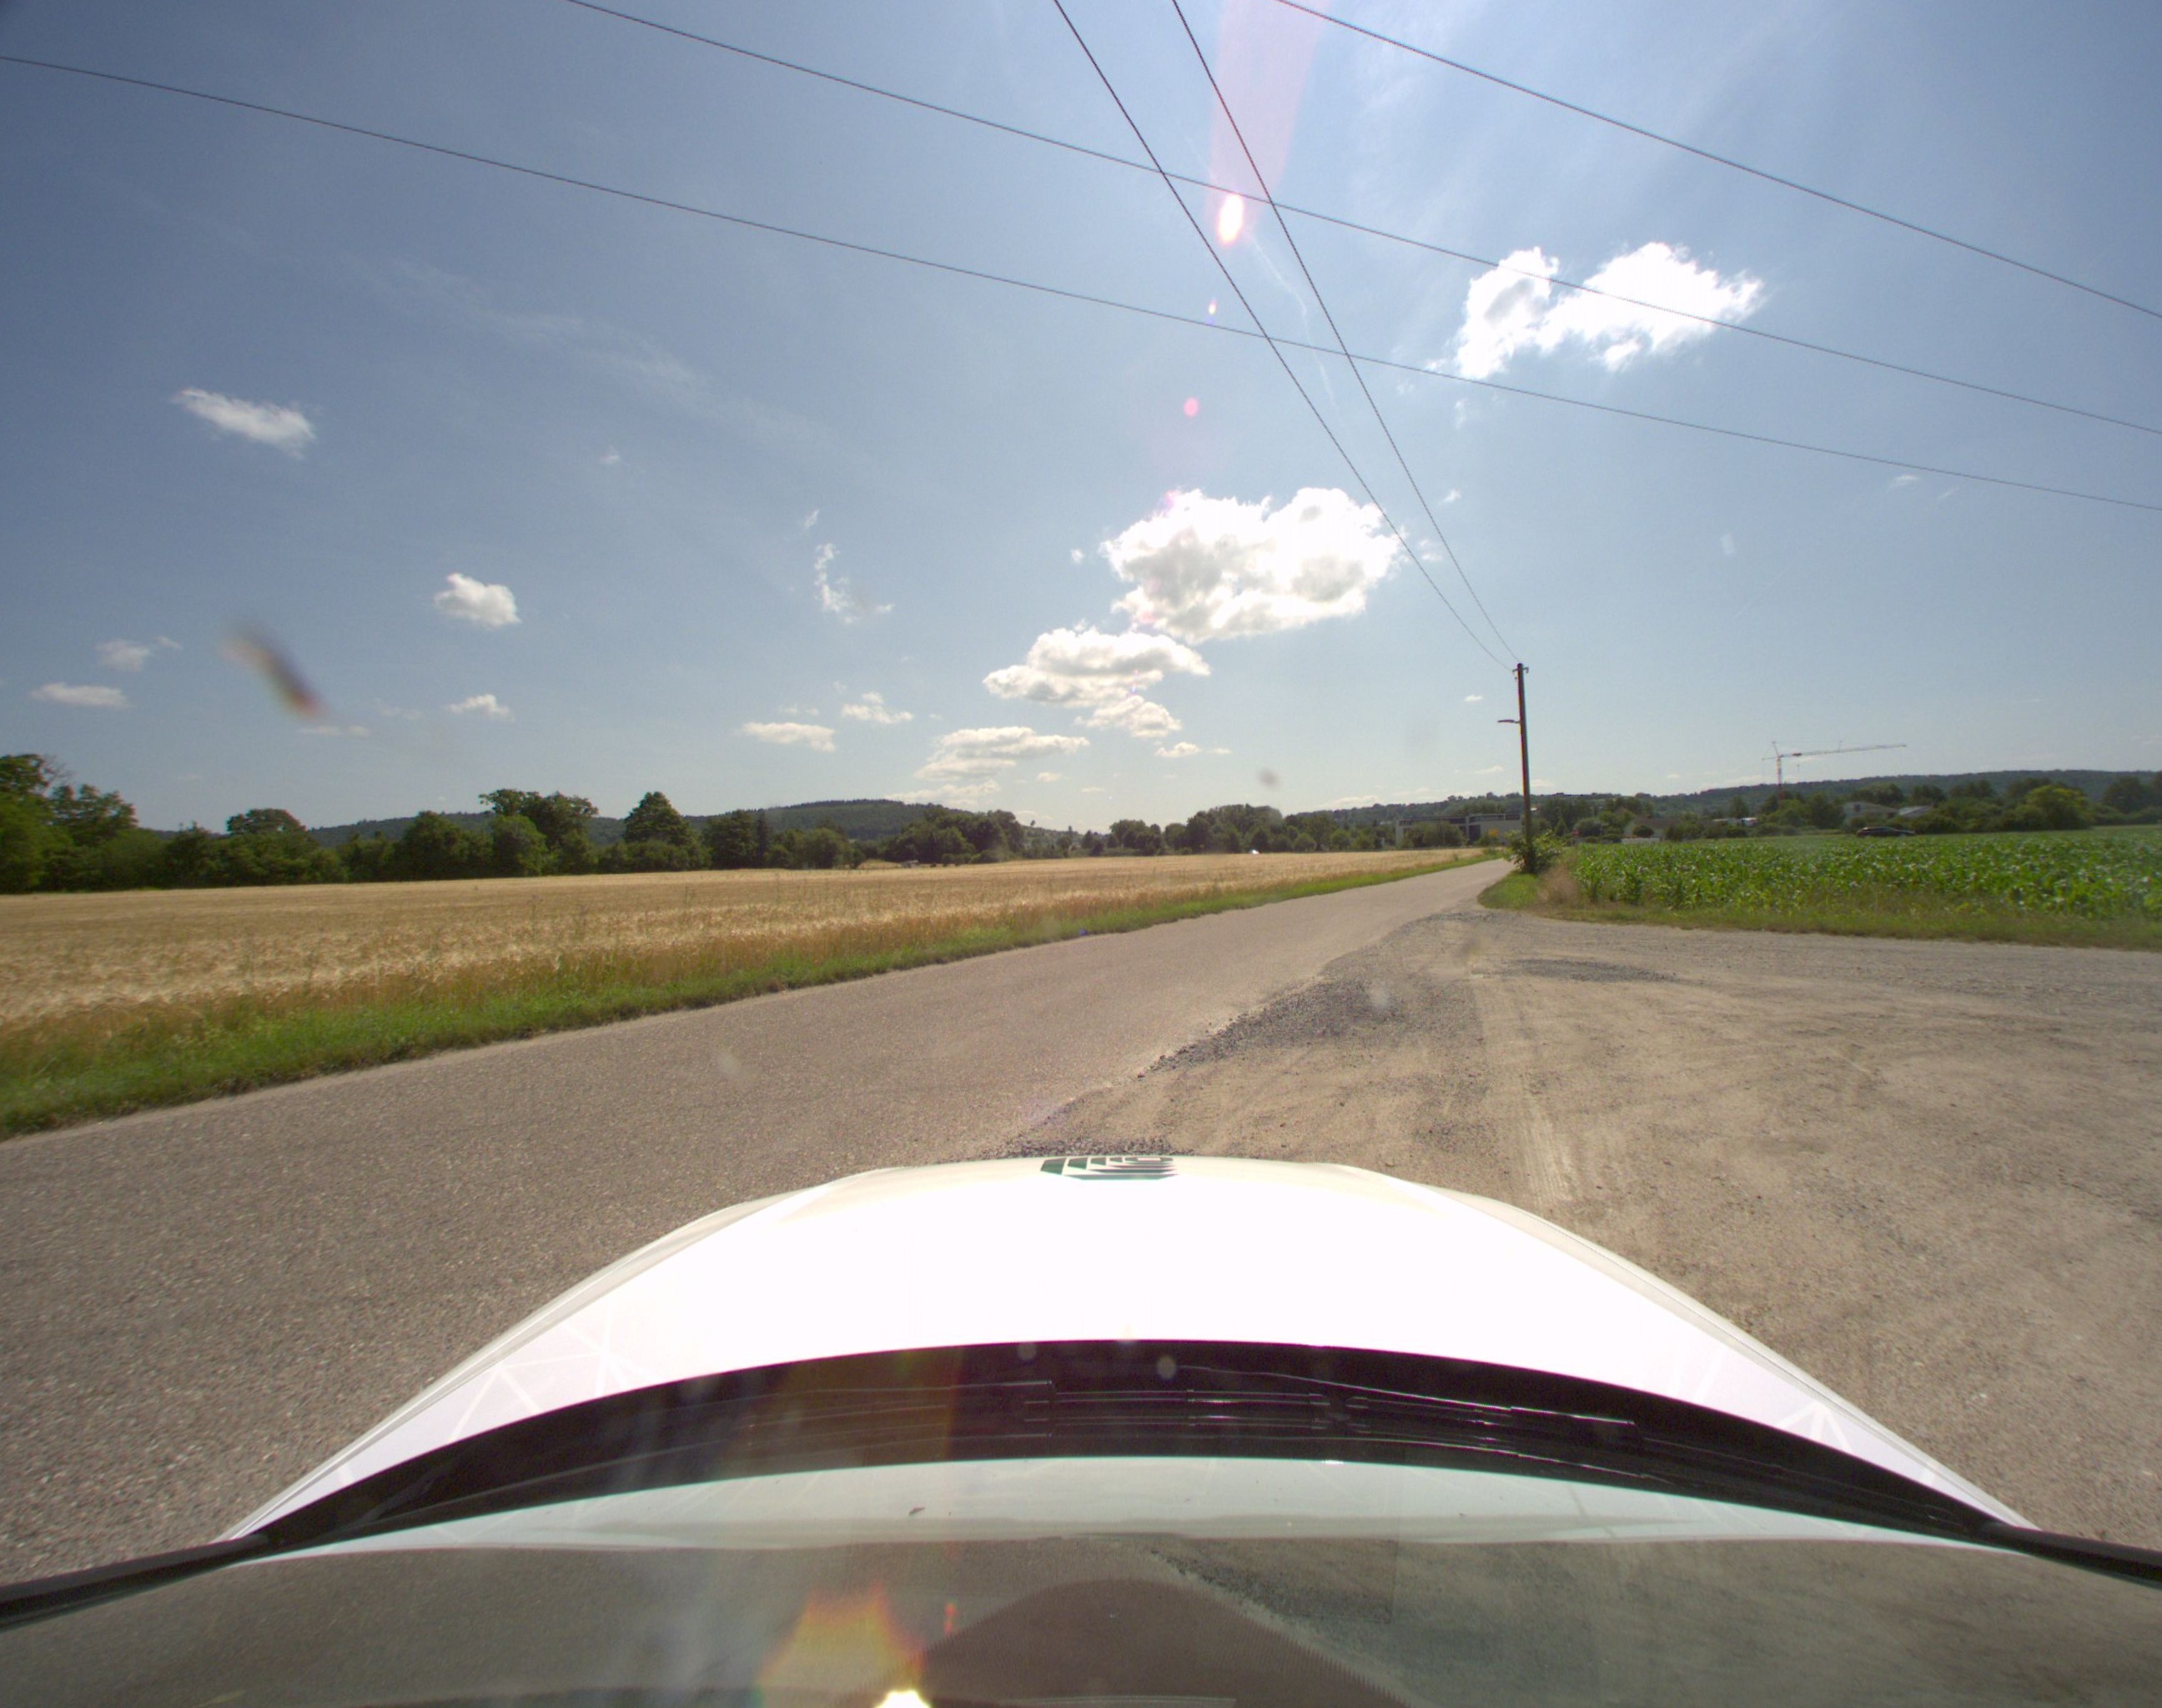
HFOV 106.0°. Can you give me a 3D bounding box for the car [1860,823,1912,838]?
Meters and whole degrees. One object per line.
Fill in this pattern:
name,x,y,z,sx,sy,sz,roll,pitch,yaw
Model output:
car,93.241,-2.702,94.363,1.827,1.502,4.239,-2,0,-44
